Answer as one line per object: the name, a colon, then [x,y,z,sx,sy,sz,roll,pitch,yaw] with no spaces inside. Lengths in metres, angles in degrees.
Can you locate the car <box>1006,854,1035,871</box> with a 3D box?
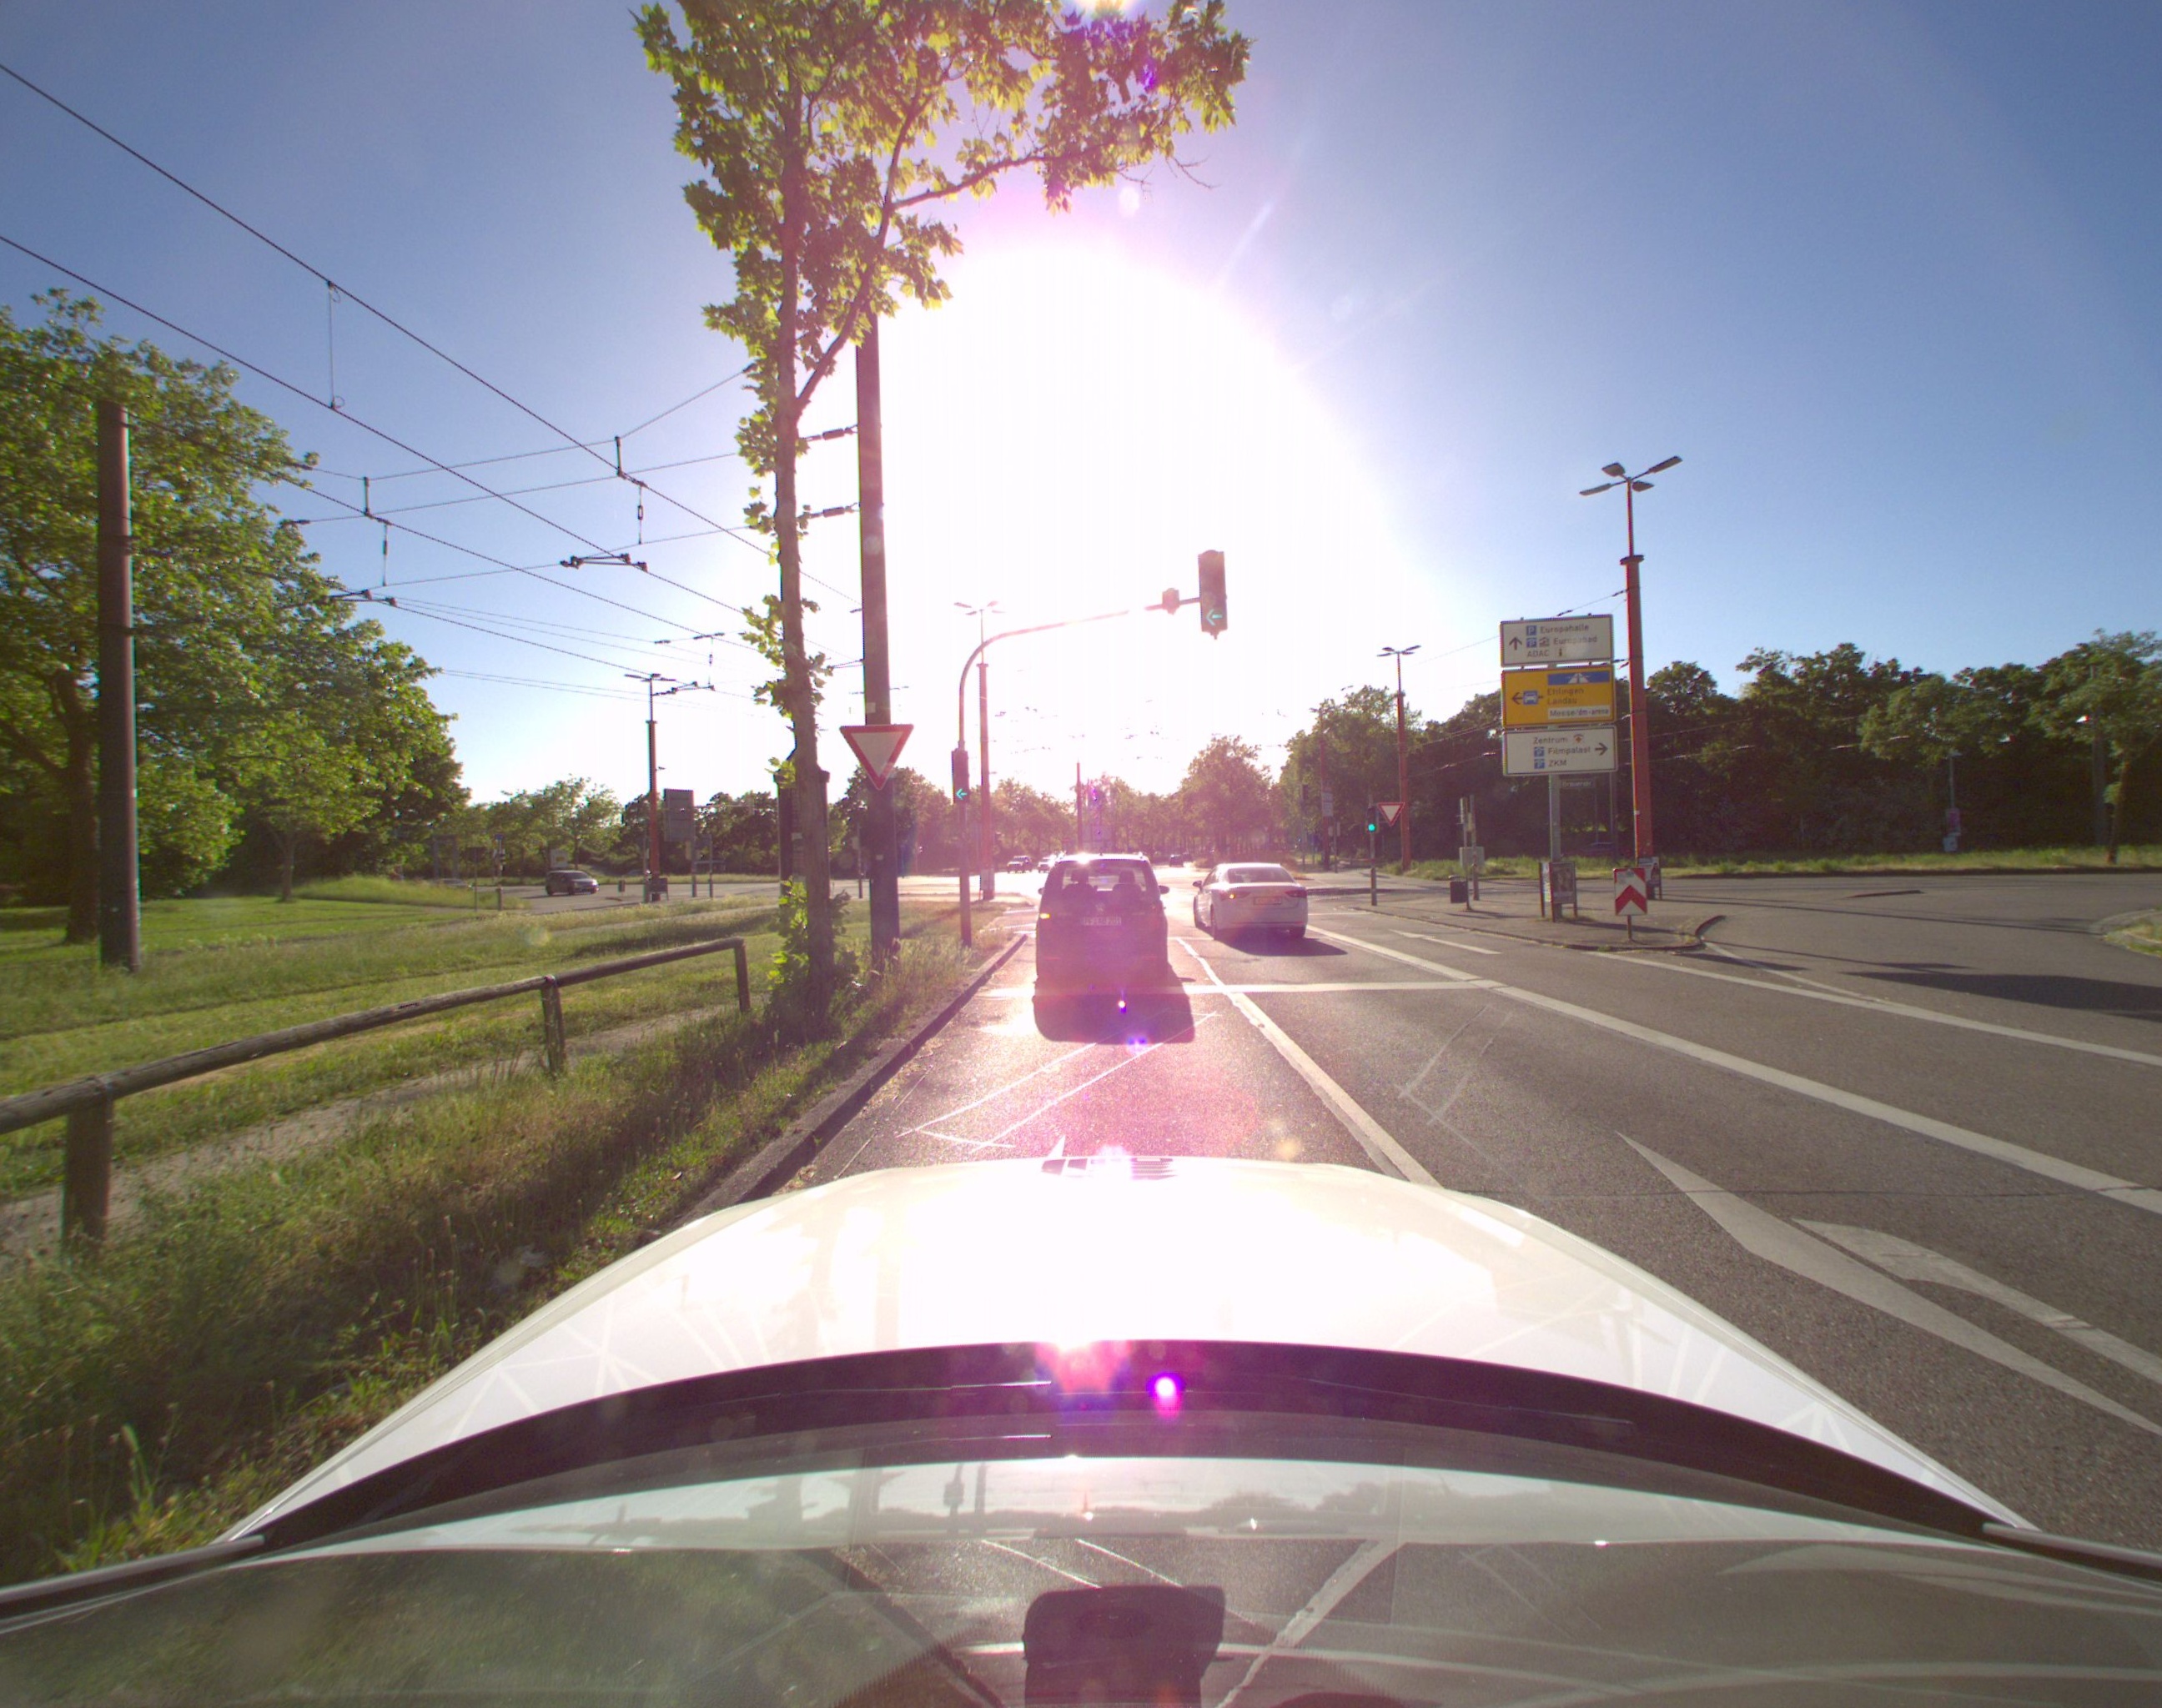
car: [-6.563,0.929,88.398,1.890,1.726,4.668,-1,0,11]

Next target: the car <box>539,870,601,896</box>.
car: [-38.285,2.159,60.953,4.390,1.775,1.916,-2,1,28]

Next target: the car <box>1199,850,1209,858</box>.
car: [25.072,0.025,165.946,1.779,1.502,4.060,-1,0,9]

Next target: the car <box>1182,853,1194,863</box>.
car: [16.786,0.625,128.186,1.863,1.627,4.007,0,-1,6]

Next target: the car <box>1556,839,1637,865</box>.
car: [33.283,-0.130,52.731,4.235,1.495,2.012,-2,0,28]

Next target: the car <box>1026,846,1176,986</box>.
car: [0.297,0.744,12.291,1.761,1.644,4.924,-1,0,1]

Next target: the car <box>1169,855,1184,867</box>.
car: [11.940,0.821,101.634,1.779,1.388,4.060,-1,0,9]

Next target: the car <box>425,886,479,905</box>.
car: [-54.369,3.601,70.405,4.507,1.474,1.916,-2,1,28]

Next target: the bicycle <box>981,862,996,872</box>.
bicycle: [-10.125,1.411,89.032,0.757,1.091,2.025,-2,1,18]

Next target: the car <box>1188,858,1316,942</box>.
car: [3.399,0.847,16.995,1.762,1.464,4.366,-1,0,0]

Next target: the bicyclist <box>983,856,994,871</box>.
bicyclist: [-10.111,1.066,89.109,0.753,1.557,0.986,-2,0,18]

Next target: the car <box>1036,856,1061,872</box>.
car: [-3.421,1.067,86.000,1.756,1.538,4.103,-1,0,10]
